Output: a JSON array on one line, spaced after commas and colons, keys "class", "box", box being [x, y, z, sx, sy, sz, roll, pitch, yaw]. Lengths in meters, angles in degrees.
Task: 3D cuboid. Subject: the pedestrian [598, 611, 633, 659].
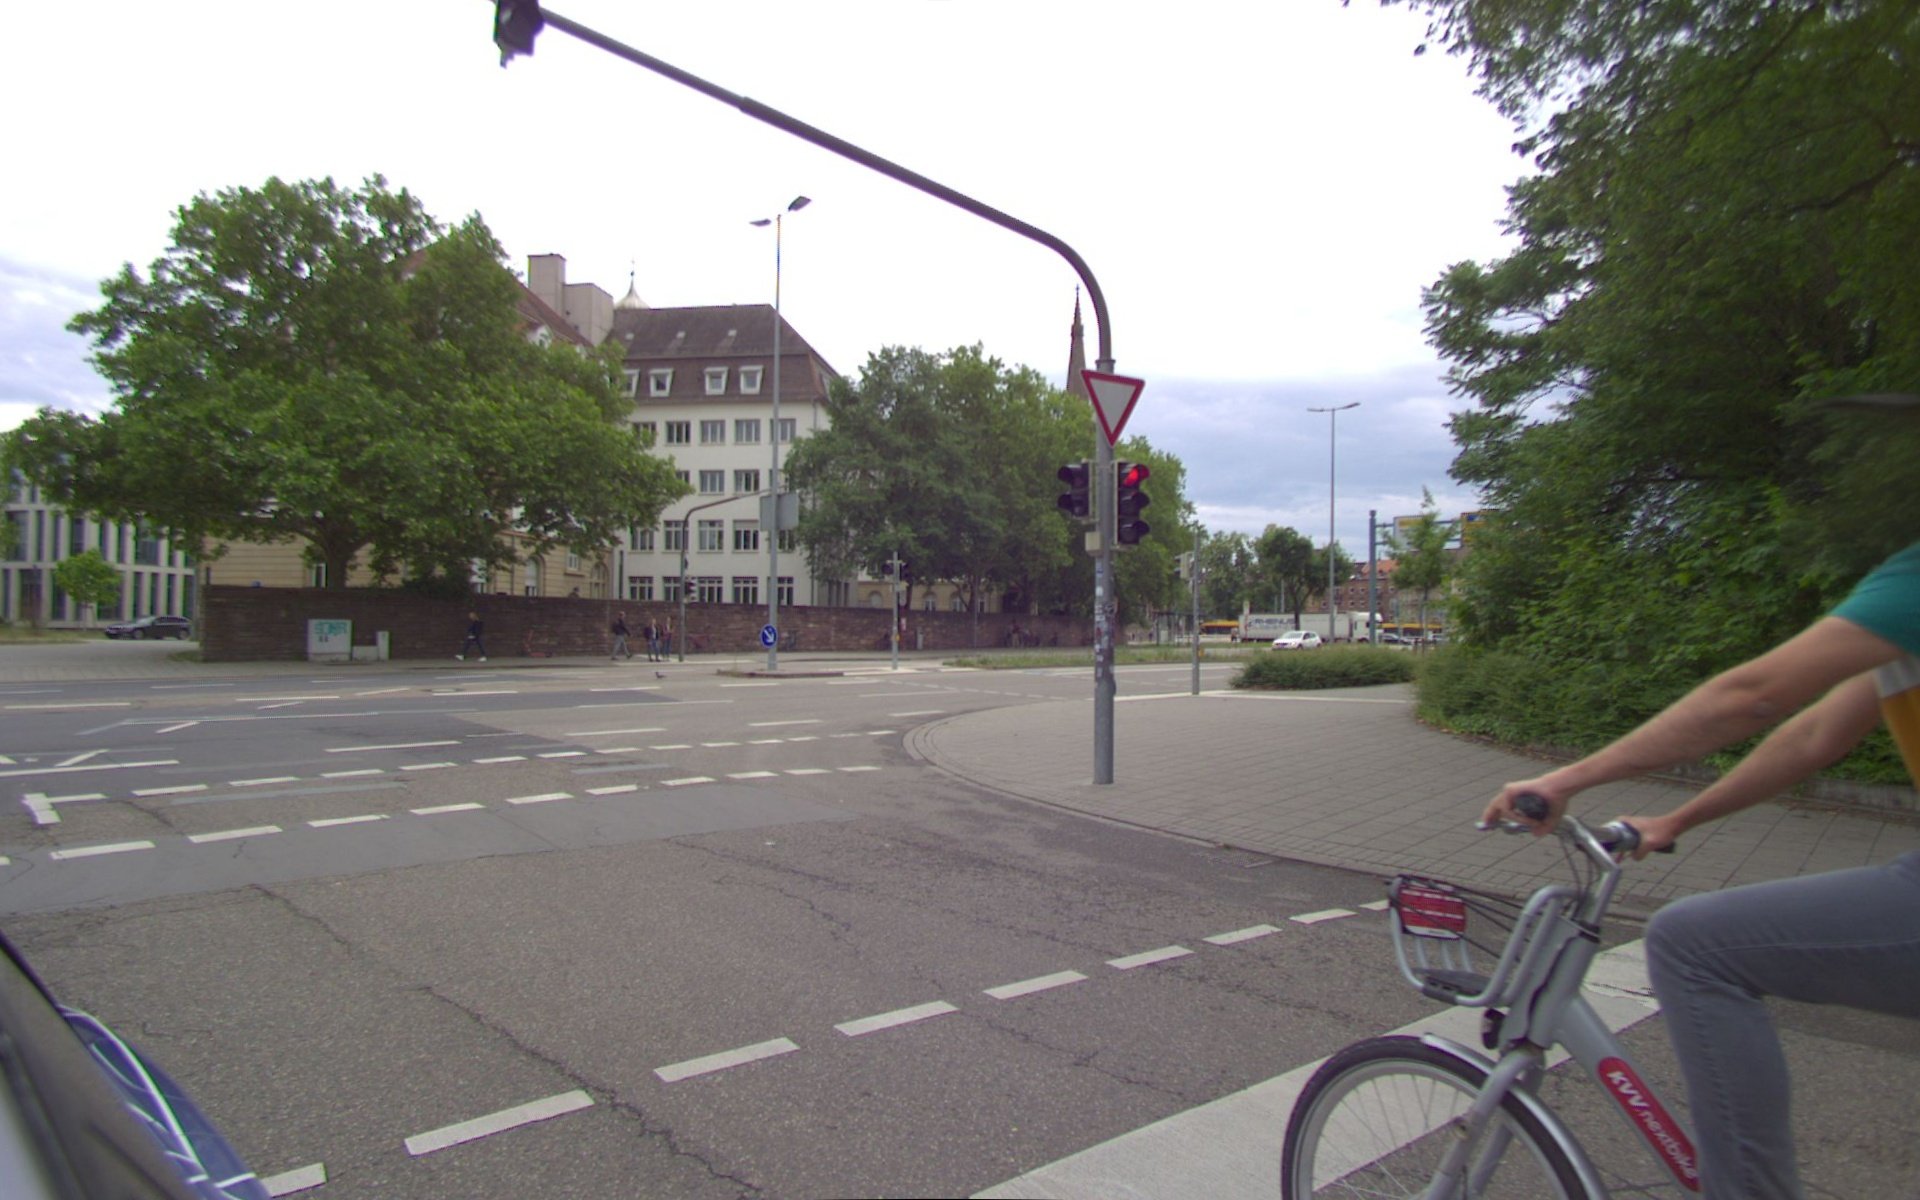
[{"class": "pedestrian", "box": [-13.211, 1.332, 38.850, 0.757, 1.802, 0.993, 0, -1, 41]}]

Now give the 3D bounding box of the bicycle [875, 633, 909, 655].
[{"class": "bicycle", "box": [-3.636, 2.350, 54.382, 0.663, 1.157, 2.133, 1, -1, 31]}]

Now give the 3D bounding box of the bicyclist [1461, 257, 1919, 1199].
[{"class": "bicyclist", "box": [1.361, 0.472, 1.547, 0.981, 1.793, 0.651, -1, -3, 35]}]

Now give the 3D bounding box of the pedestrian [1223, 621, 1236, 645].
[{"class": "pedestrian", "box": [19.916, 2.437, 74.803, 0.642, 1.719, 0.698, -1, -3, 42]}]

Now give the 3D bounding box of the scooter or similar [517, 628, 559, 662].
[{"class": "scooter or similar", "box": [-15.848, 1.679, 38.007, 1.389, 1.239, 0.497, 2, -1, -29]}]

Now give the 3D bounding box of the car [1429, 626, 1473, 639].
[{"class": "car", "box": [54.161, 3.559, 111.602, 3.999, 1.386, 1.972, -1, -3, 42]}]

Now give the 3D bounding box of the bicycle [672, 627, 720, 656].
[{"class": "bicycle", "box": [-11.344, 1.771, 43.508, 0.582, 1.194, 2.131, 1, -1, 34]}]

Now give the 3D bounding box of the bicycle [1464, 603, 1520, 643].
[{"class": "bicycle", "box": [14.286, 0.621, 27.162, 1.837, 1.045, 0.783, 2, -3, -44]}]

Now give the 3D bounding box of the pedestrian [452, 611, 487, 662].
[{"class": "pedestrian", "box": [-16.992, 1.261, 35.092, 0.791, 1.677, 0.798, 2, 0, 43]}]

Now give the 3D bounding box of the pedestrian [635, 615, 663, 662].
[{"class": "pedestrian", "box": [-11.922, 1.467, 38.791, 0.735, 1.752, 0.662, 0, -2, 39]}]

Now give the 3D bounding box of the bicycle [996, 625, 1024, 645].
[{"class": "bicycle", "box": [3.235, 2.241, 64.884, 0.663, 1.275, 2.515, 1, -1, 31]}]

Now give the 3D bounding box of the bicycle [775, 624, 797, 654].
[{"class": "bicycle", "box": [-8.377, 1.866, 48.812, 0.660, 1.391, 2.586, 0, -2, -1]}]

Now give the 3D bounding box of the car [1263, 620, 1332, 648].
[{"class": "car", "box": [21.972, 2.188, 65.749, 5.294, 1.710, 2.049, 1, -4, -45]}]

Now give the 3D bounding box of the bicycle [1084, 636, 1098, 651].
[{"class": "bicycle", "box": [10.369, 3.406, 79.966, 0.504, 1.157, 2.232, 1, -1, 21]}]

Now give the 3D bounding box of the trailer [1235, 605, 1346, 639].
[{"class": "trailer", "box": [38.919, 2.652, 119.686, 12.372, 3.852, 2.805, -1, -1, 42]}]

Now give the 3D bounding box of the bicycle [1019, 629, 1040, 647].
[{"class": "bicycle", "box": [4.723, 2.547, 68.419, 0.506, 1.157, 2.225, 1, -1, 29]}]

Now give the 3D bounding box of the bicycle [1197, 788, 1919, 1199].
[{"class": "bicycle", "box": [1.352, 0.948, 1.534, 1.857, 1.045, 0.650, -1, -3, 42]}]

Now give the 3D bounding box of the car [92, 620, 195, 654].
[{"class": "car", "box": [-47.576, 2.124, 59.088, 1.978, 1.593, 4.391, -10, -3, 8]}]

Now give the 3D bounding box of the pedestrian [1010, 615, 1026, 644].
[{"class": "pedestrian", "box": [3.701, 1.881, 64.553, 0.788, 1.773, 0.765, 0, -2, 30]}]

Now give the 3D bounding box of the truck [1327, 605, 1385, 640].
[{"class": "truck", "box": [44.727, 2.498, 114.444, 5.449, 3.852, 2.805, -2, -2, 42]}]

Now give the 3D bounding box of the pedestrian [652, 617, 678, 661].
[{"class": "pedestrian", "box": [-11.467, 1.508, 39.321, 0.779, 1.706, 0.634, 0, -1, 42]}]
